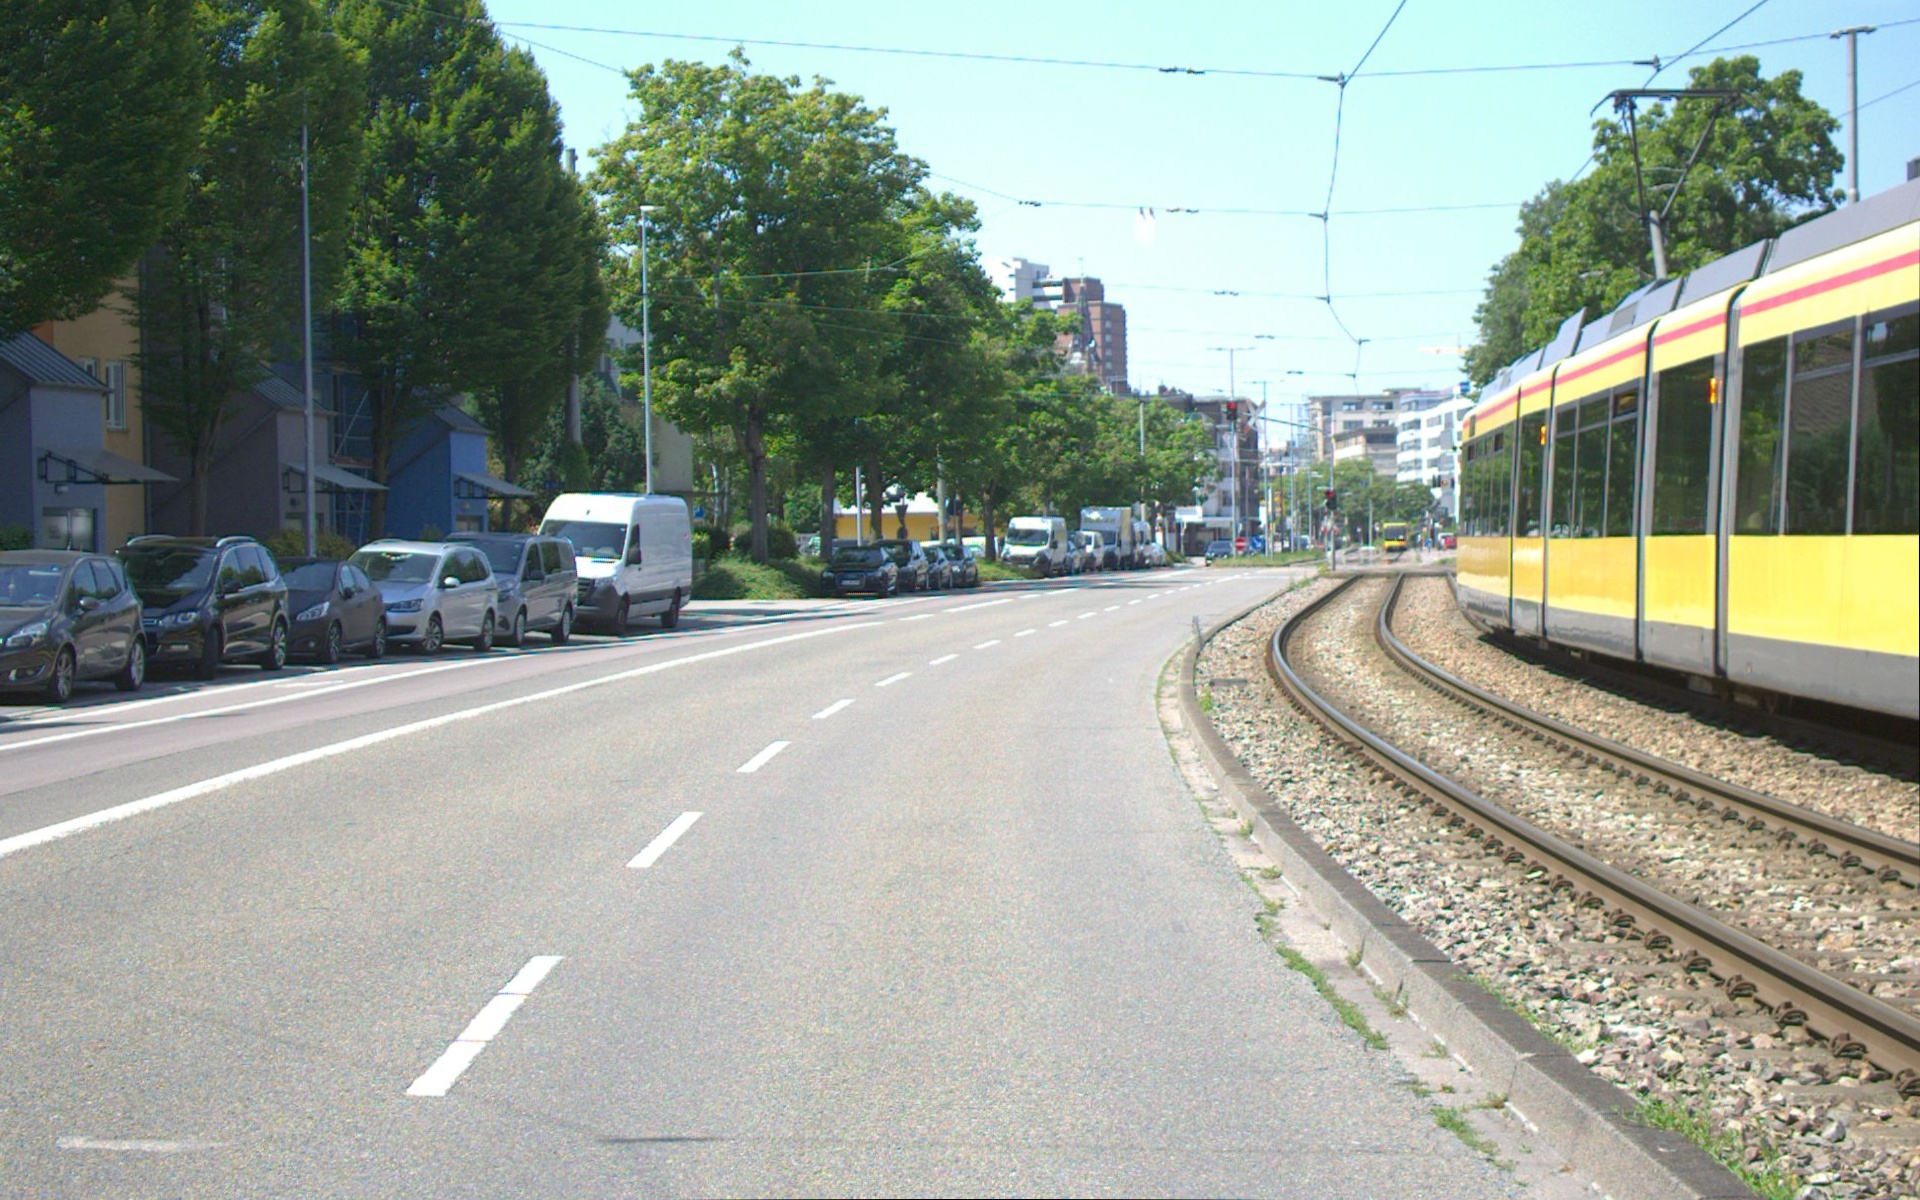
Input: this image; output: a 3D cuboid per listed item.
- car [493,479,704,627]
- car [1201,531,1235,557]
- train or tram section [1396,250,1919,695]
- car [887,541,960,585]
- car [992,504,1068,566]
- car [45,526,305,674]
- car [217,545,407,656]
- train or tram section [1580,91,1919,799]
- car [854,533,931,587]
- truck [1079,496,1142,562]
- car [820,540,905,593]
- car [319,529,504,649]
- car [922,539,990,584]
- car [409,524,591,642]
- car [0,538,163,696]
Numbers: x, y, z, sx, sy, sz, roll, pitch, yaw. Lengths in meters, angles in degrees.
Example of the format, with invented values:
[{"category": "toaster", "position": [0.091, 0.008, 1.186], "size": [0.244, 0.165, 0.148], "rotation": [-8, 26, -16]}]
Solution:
[{"category": "car", "position": [-7.036, -0.970, 67.862], "size": [2.324, 2.642, 7.033], "rotation": [3, 2, 8]}, {"category": "car", "position": [15.075, -3.258, 200.594], "size": [1.775, 1.455, 4.194], "rotation": [-2, 1, 6]}, {"category": "train or tram section", "position": [7.157, -1.280, 38.627], "size": [2.944, 3.679, 20.283], "rotation": [0, 1, 3]}, {"category": "car", "position": [-1.151, -1.215, 111.237], "size": [1.775, 1.368, 4.696], "rotation": [1, 1, 6]}, {"category": "car", "position": [2.986, -2.736, 145.336], "size": [2.158, 2.478, 6.190], "rotation": [3, 2, 10]}, {"category": "car", "position": [-9.761, -0.053, 43.146], "size": [1.751, 1.710, 4.887], "rotation": [-1, 1, 5]}, {"category": "car", "position": [-9.168, -0.025, 48.929], "size": [1.598, 1.466, 4.087], "rotation": [-1, 1, 5]}, {"category": "train or tram section", "position": [6.486, -0.839, 19.383], "size": [2.943, 3.679, 18.389], "rotation": [0, 1, 1]}, {"category": "car", "position": [-2.051, -1.243, 105.895], "size": [1.775, 1.598, 4.636], "rotation": [0, 1, 6]}, {"category": "truck", "position": [7.614, -3.579, 173.198], "size": [2.158, 3.199, 7.079], "rotation": [2, 2, 10]}, {"category": "car", "position": [-2.751, -0.983, 98.084], "size": [1.775, 1.451, 4.803], "rotation": [0, 1, 6]}, {"category": "car", "position": [-8.525, -0.211, 53.879], "size": [1.717, 1.746, 4.903], "rotation": [-1, 1, 5]}, {"category": "car", "position": [-0.110, -1.334, 117.728], "size": [1.775, 1.475, 4.046], "rotation": [1, 1, 8]}, {"category": "car", "position": [-7.873, -0.335, 59.363], "size": [1.807, 1.889, 5.361], "rotation": [-1, 1, 7]}, {"category": "car", "position": [-10.286, 0.147, 37.960], "size": [1.656, 1.612, 4.285], "rotation": [-1, 1, 5]}]
